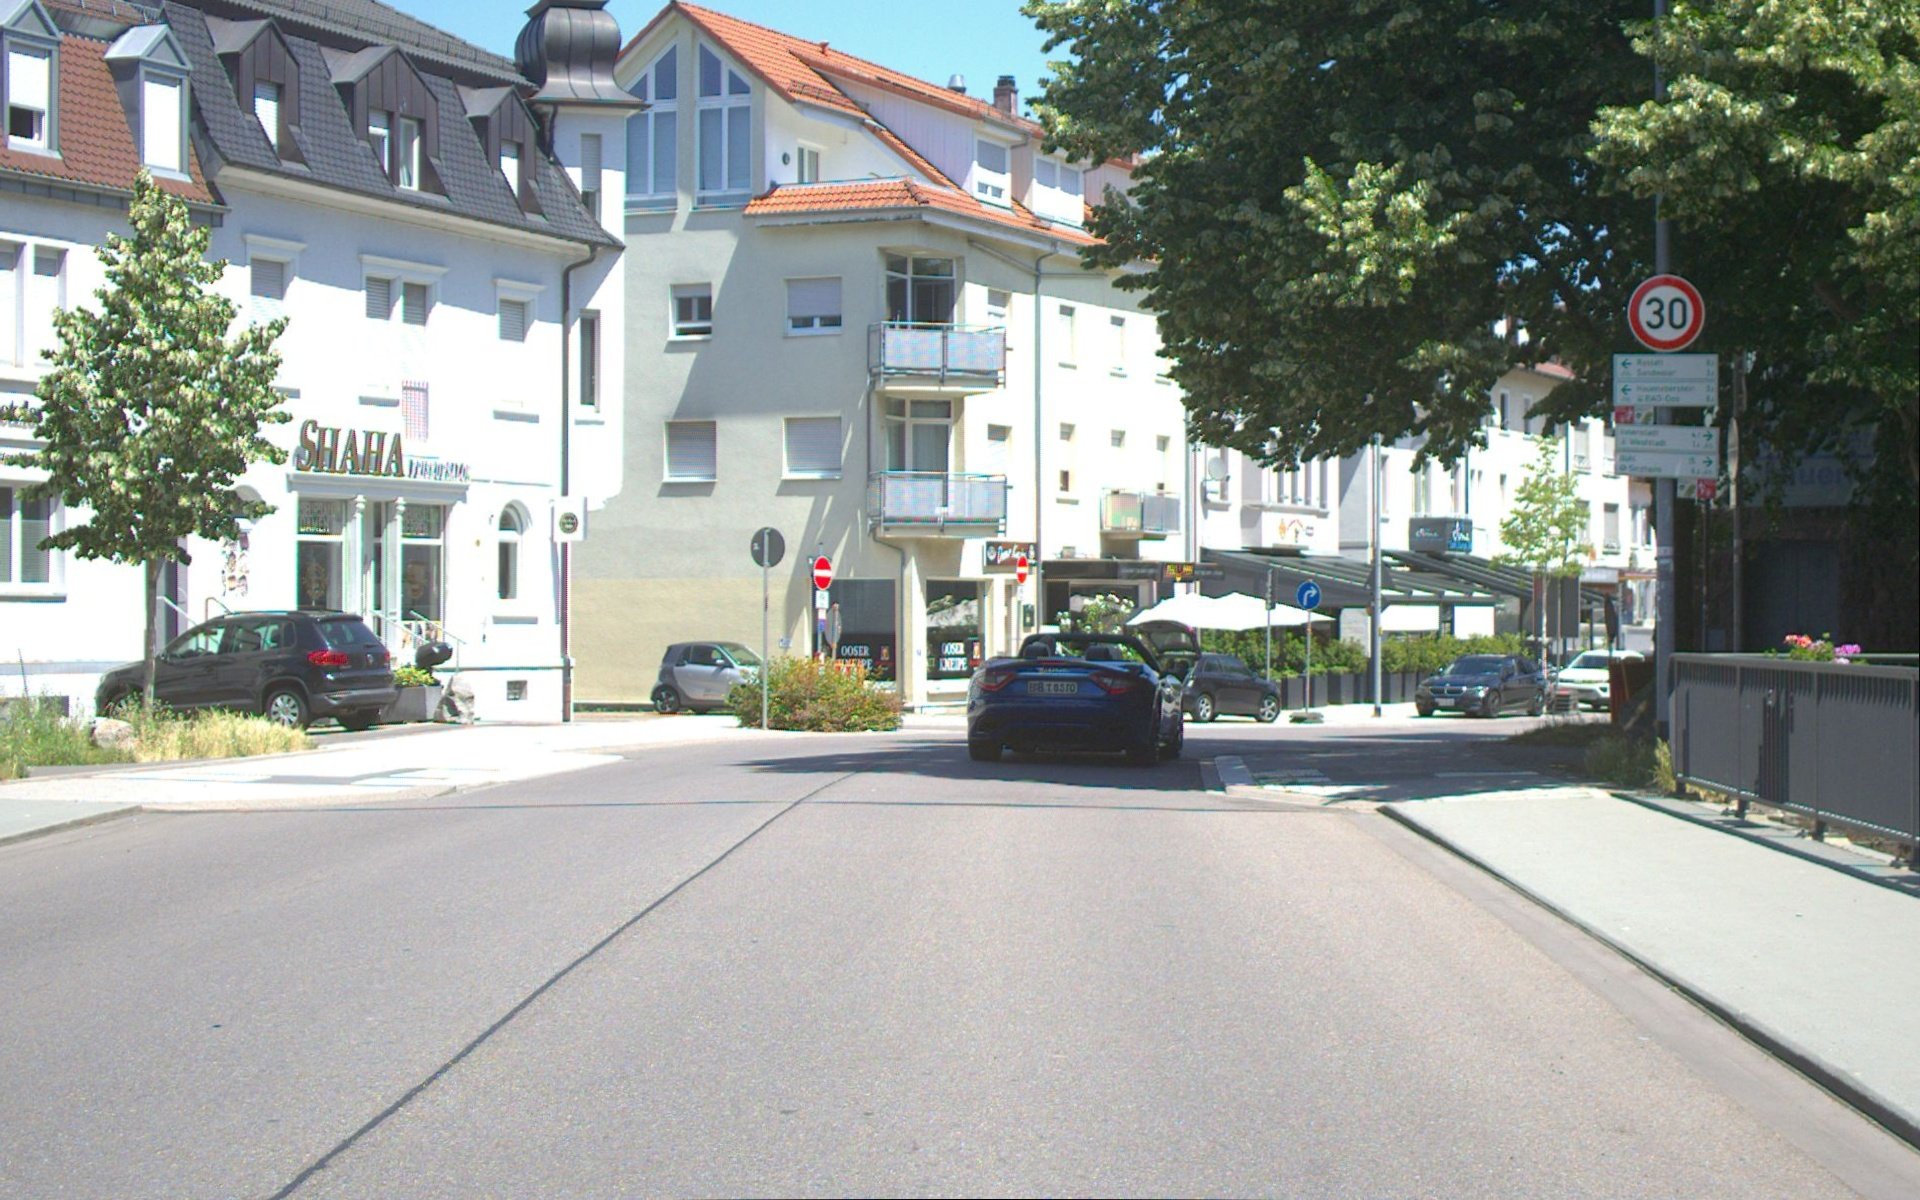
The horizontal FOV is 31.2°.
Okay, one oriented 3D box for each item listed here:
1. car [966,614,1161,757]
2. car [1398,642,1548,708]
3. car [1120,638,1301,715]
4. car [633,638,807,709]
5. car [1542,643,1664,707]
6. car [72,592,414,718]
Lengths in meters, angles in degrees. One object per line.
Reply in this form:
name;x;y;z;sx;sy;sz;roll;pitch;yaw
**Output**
car;1.045;0.841;35.759;1.870;1.337;4.596;1;0;1
car;11.945;1.718;79.821;1.837;1.425;4.774;1;0;29
car;5.209;1.599;71.136;1.716;1.456;4.120;2;0;37
car;-5.083;1.537;72.745;3.266;1.453;1.690;0;0;22
car;16.150;1.862;86.241;1.648;1.474;3.933;2;1;32
car;-9.777;0.740;46.927;4.185;1.656;1.968;0;-1;23
